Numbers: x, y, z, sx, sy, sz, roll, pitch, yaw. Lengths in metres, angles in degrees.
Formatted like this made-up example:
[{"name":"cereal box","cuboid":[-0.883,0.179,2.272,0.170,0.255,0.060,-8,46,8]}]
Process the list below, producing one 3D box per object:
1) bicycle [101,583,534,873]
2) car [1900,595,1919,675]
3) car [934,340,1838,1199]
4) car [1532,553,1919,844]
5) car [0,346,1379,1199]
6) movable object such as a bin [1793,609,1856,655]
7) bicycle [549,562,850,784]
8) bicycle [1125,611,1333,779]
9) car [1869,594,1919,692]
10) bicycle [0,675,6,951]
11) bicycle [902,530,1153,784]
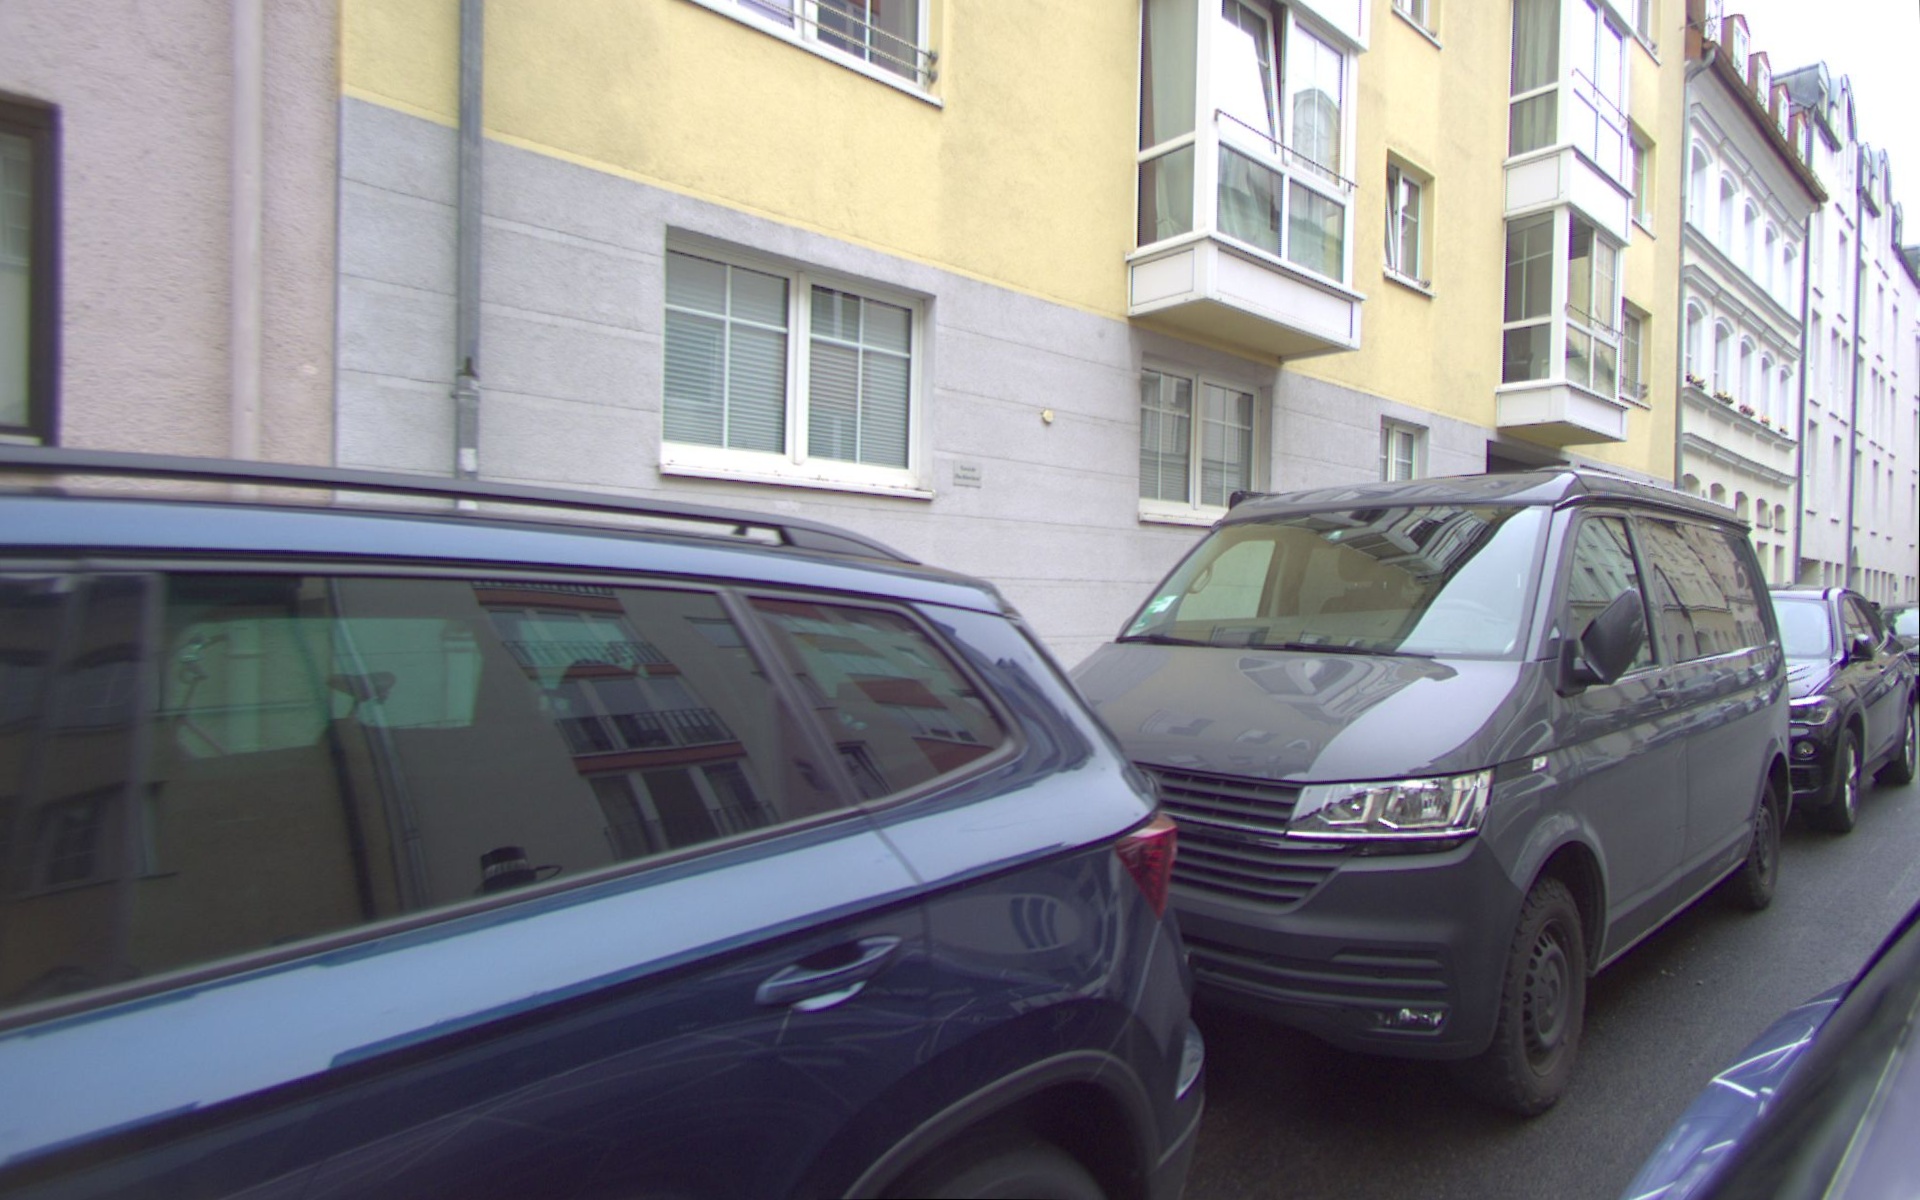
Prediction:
[{"name":"bicycle","cuboid":[-2.528,0.440,4.089,1.420,0.988,0.422,0,1,-40]},{"name":"car","cuboid":[19.340,0.639,19.303,3.622,1.459,1.737,0,0,-41]},{"name":"car","cuboid":[2.397,0.386,4.676,5.019,2.039,1.876,-1,1,-42]},{"name":"car","cuboid":[6.300,0.561,8.023,4.155,1.707,1.835,0,0,-42]},{"name":"car","cuboid":[-1.314,0.634,1.390,4.249,1.642,1.835,0,0,-42]},{"name":"movable object such as a bin","cuboid":[18.948,0.717,22.176,1.620,0.945,0.739,3,-7,-40]},{"name":"bicycle","cuboid":[-1.272,0.322,5.118,1.420,0.988,0.422,0,1,-40]},{"name":"bicycle","cuboid":[2.177,0.718,8.050,1.834,1.177,0.636,3,-2,-40]},{"name":"car","cuboid":[15.954,0.640,16.340,1.745,1.459,4.161,0,0,44]},{"name":"bicycle","cuboid":[-3.835,0.746,2.908,1.548,0.959,0.442,0,1,-40]},{"name":"bicycle","cuboid":[0.505,0.369,6.714,1.834,1.490,0.433,3,-2,-40]}]
